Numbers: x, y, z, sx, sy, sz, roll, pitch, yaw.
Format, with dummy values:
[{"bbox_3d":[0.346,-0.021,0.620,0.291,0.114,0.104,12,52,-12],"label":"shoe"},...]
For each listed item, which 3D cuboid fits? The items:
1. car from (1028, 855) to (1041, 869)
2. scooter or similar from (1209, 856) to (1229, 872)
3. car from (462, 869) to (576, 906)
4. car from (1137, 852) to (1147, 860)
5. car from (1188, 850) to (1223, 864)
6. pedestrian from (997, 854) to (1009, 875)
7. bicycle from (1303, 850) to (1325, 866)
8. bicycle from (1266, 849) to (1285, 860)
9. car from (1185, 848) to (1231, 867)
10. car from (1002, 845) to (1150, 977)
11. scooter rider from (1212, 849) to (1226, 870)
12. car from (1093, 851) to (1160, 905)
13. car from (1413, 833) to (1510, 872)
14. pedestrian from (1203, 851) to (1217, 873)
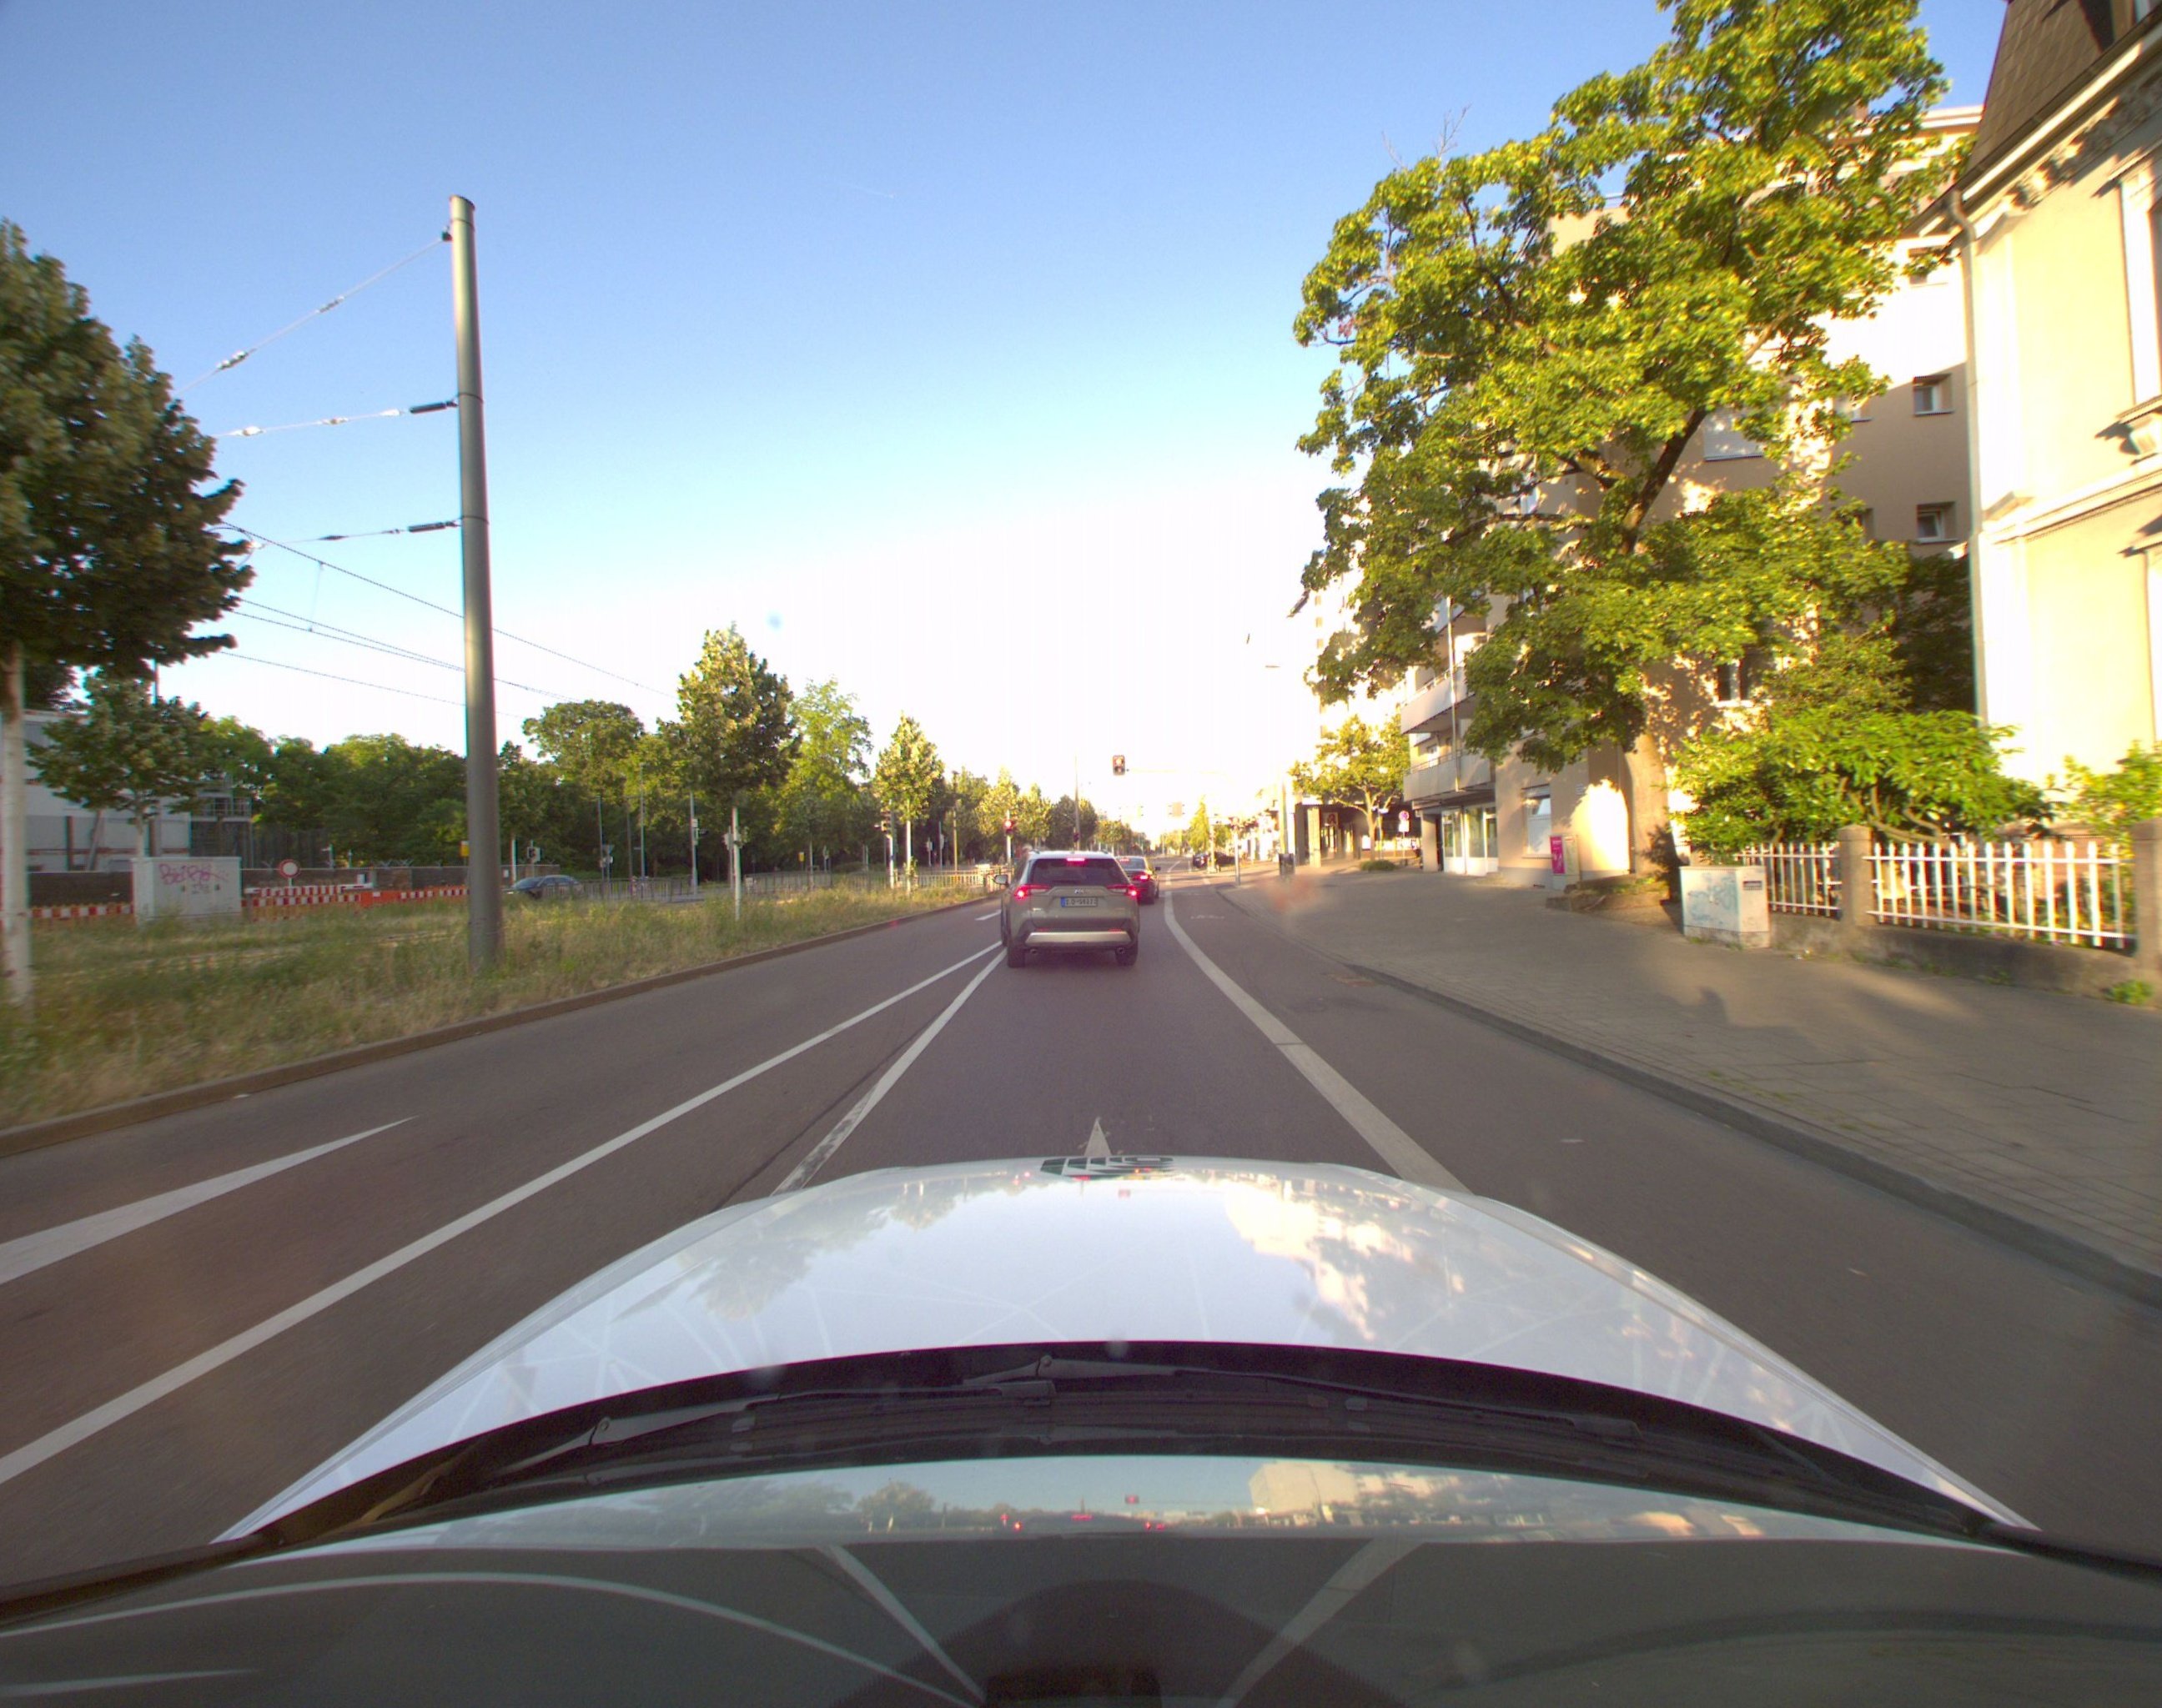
[{"bbox_3d":[-7.989,1.323,140.221,1.988,2.168,4.749,-1,1,-1],"label":"car"},{"bbox_3d":[10.417,0.750,61.346,1.316,1.153,0.517,-2,0,30],"label":"scooter or similar"},{"bbox_3d":[-27.077,1.589,39.443,1.921,1.481,4.533,-1,1,8],"label":"car"},{"bbox_3d":[12.570,0.430,166.998,1.969,1.433,4.851,-1,1,5],"label":"car"},{"bbox_3d":[15.978,0.353,104.657,4.281,1.658,1.843,-1,1,-30],"label":"car"},{"bbox_3d":[-6.528,0.849,68.084,0.831,1.712,0.648,-2,0,4],"label":"pedestrian"},{"bbox_3d":[17.289,0.277,60.544,0.689,1.149,2.014,1,-1,-13],"label":"bicycle"},{"bbox_3d":[21.046,0.051,88.002,2.003,1.149,0.693,1,-1,11],"label":"bicycle"},{"bbox_3d":[11.938,0.329,76.411,4.288,1.658,1.840,-2,1,-37],"label":"car"},{"bbox_3d":[-0.255,0.715,12.831,1.853,1.658,4.259,-1,1,-7],"label":"car"},{"bbox_3d":[10.402,0.415,61.379,0.812,1.514,0.657,-2,0,30],"label":"scooter rider"},{"bbox_3d":[1.554,0.697,26.230,1.922,1.481,4.530,-1,1,6],"label":"car"},{"bbox_3d":[18.921,-0.039,40.647,4.016,1.585,1.710,-4,-3,9],"label":"car"},{"bbox_3d":[9.404,0.590,59.436,0.828,1.586,0.816,-2,0,20],"label":"pedestrian"}]
